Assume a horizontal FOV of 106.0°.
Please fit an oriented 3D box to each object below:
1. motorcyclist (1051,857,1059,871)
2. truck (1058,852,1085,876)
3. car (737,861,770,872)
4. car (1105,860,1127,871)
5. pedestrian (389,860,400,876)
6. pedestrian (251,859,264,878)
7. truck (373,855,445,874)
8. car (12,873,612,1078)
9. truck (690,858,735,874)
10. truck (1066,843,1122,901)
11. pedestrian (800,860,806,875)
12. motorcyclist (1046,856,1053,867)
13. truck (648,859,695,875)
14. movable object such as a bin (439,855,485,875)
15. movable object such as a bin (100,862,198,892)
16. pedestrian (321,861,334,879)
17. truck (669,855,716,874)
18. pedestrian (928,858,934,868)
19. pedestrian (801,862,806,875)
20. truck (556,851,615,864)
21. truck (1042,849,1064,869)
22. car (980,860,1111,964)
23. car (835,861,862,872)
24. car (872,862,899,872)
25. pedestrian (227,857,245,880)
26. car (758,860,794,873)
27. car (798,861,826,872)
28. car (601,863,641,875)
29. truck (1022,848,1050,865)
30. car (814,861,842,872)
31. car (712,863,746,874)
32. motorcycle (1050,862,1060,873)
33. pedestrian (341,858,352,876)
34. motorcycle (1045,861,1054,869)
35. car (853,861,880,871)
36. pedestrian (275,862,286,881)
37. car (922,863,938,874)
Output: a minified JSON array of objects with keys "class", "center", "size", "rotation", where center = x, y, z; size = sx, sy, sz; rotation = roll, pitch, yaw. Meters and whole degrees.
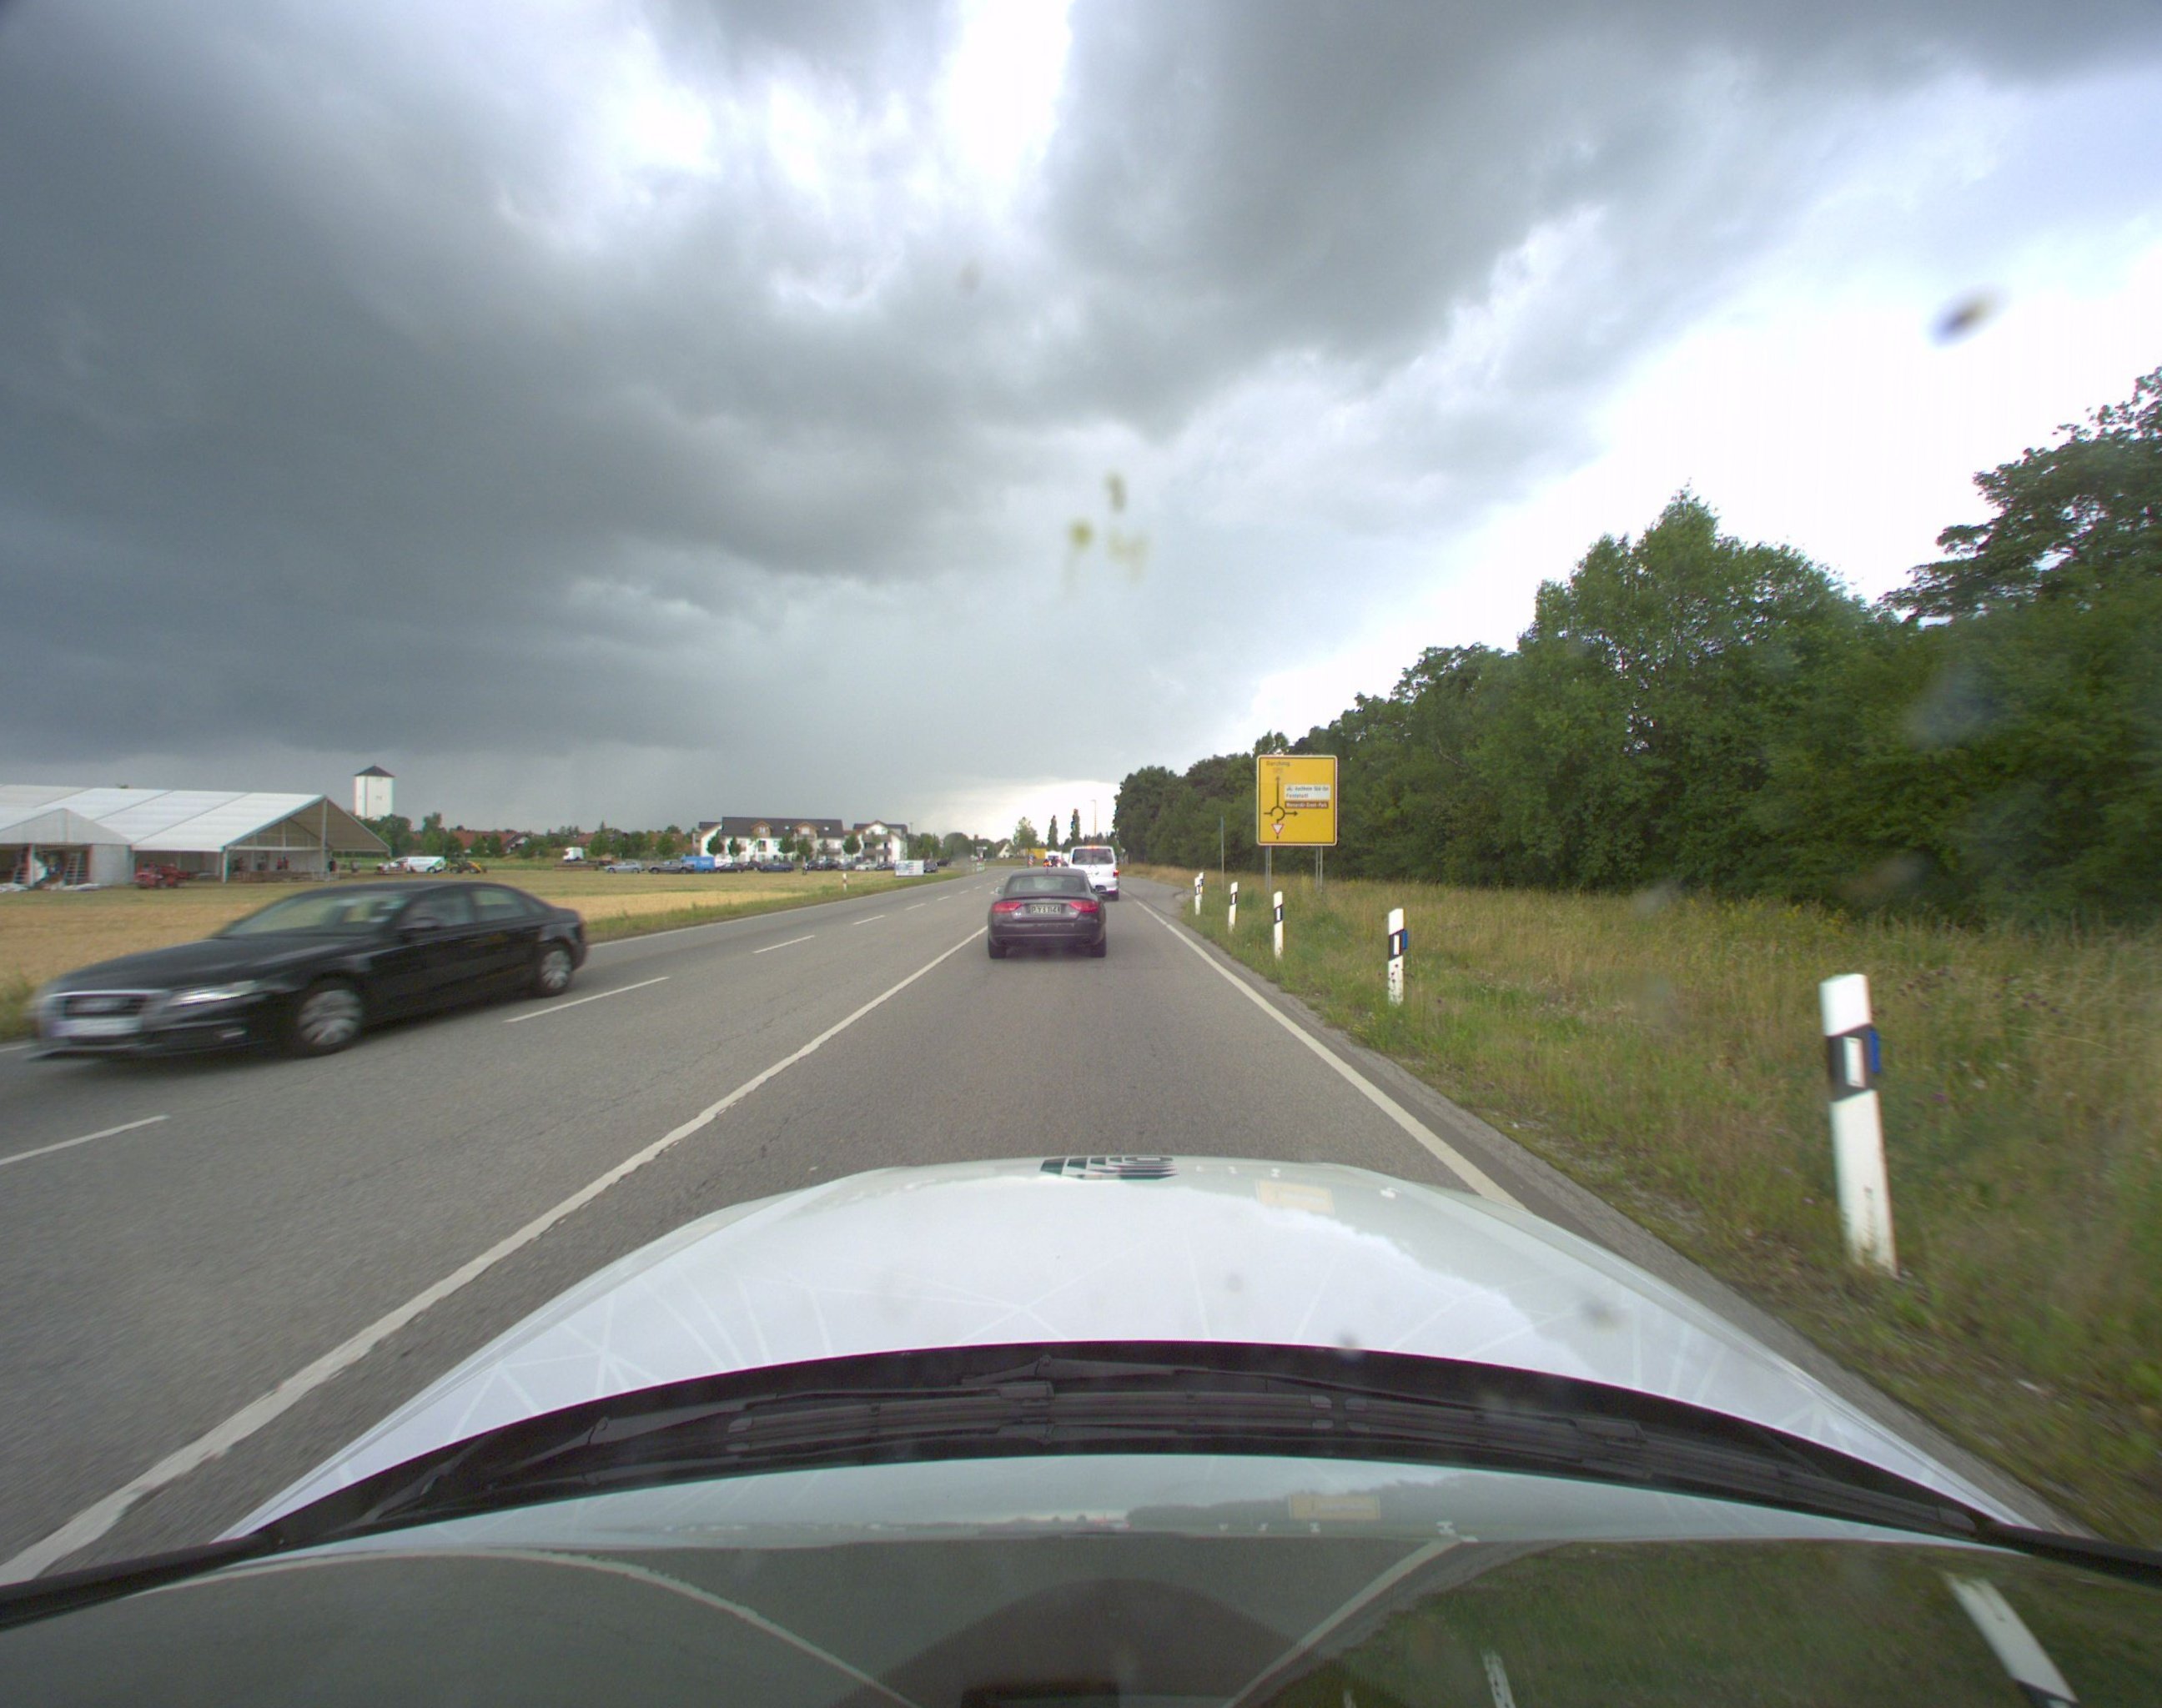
[{"class":"motorcyclist","center":[-2.601,0.995,81.269],"size":[0.769,1.383,0.820],"rotation":[0,-1,-1]},{"class":"truck","center":[-0.815,0.837,70.319],"size":[2.187,2.014,5.083],"rotation":[0,-1,0]},{"class":"car","center":[-50.536,1.926,125.681],"size":[4.643,1.697,1.986],"rotation":[0,-1,-21]},{"class":"car","center":[6.846,2.299,159.783],"size":[3.954,2.014,2.010],"rotation":[0,-1,19]},{"class":"pedestrian","center":[-74.475,1.537,88.319],"size":[0.690,1.776,0.691],"rotation":[0,-1,-17]},{"class":"pedestrian","center":[-76.643,1.332,75.804],"size":[0.750,1.779,0.736],"rotation":[-1,-1,34]},{"class":"truck","center":[-78.195,1.208,94.893],"size":[6.079,2.217,2.696],"rotation":[0,-1,-28]},{"class":"car","center":[-6.977,0.947,8.251],"size":[1.820,1.410,4.424],"rotation":[-1,0,1]},{"class":"truck","center":[-51.651,1.629,114.285],"size":[5.590,2.197,2.586],"rotation":[0,-1,-24]},{"class":"truck","center":[0.426,0.619,30.243],"size":[1.898,1.998,4.627],"rotation":[0,0,0]},{"class":"pedestrian","center":[-34.734,1.689,101.748],"size":[0.549,1.786,0.675],"rotation":[0,-1,-13]},{"class":"motorcyclist","center":[-4.106,0.976,105.615],"size":[0.785,1.356,0.852],"rotation":[0,-1,-7]},{"class":"truck","center":[-51.571,1.657,102.565],"size":[5.255,1.921,2.093],"rotation":[0,-1,-27]},{"class":"movable object such as a bin","center":[-71.630,1.239,94.265],"size":[4.008,2.243,1.868],"rotation":[0,-1,-29]},{"class":"movable object such as a bin","center":[-62.221,1.497,54.498],"size":[2.601,1.864,4.438],"rotation":[0,-1,-24]},{"class":"pedestrian","center":[-73.734,1.534,79.676],"size":[0.691,1.776,0.689],"rotation":[0,-1,-24]},{"class":"truck","center":[-50.925,1.362,106.766],"size":[5.472,2.446,2.375],"rotation":[0,-1,-24]},{"class":"pedestrian","center":[-24.055,1.430,130.412],"size":[0.695,1.586,0.660],"rotation":[0,-1,16]},{"class":"pedestrian","center":[-34.918,1.814,102.652],"size":[0.591,1.555,0.622],"rotation":[0,-1,-20]},{"class":"truck","center":[-92.706,0.660,152.476],"size":[9.301,2.530,3.304],"rotation":[0,-1,5]},{"class":"truck","center":[-4.004,0.695,116.639],"size":[2.624,2.737,5.852],"rotation":[1,-1,-7]},{"class":"car","center":[-0.544,0.844,13.763],"size":[1.870,1.454,4.174],"rotation":[-1,0,-1]},{"class":"car","center":[-34.637,1.848,121.423],"size":[1.978,1.536,4.231],"rotation":[-1,0,18]},{"class":"car","center":[-28.982,1.904,120.736],"size":[1.978,1.446,4.231],"rotation":[-1,0,18]},{"class":"pedestrian","center":[-76.124,1.289,73.395],"size":[0.878,2.014,0.762],"rotation":[0,-1,-23]},{"class":"car","center":[-42.625,1.743,113.885],"size":[4.733,1.697,1.986],"rotation":[0,-1,-21]},{"class":"car","center":[-40.887,1.845,123.853],"size":[1.978,1.629,4.231],"rotation":[-1,0,18]},{"class":"car","center":[-58.472,1.862,103.680],"size":[4.318,1.461,1.875],"rotation":[0,-1,-27]},{"class":"truck","center":[-9.861,0.476,178.202],"size":[3.587,3.578,9.893],"rotation":[1,0,-19]},{"class":"car","center":[-37.794,1.809,121.809],"size":[1.978,1.629,4.231],"rotation":[-1,0,18]},{"class":"car","center":[-48.100,1.933,111.505],"size":[4.171,1.519,1.986],"rotation":[0,-1,-21]},{"class":"motorcycle","center":[-2.592,1.328,81.355],"size":[0.917,1.094,2.188],"rotation":[0,-1,0]},{"class":"pedestrian","center":[-75.819,1.365,84.080],"size":[0.626,1.866,0.703],"rotation":[0,-1,-23]},{"class":"motorcycle","center":[-4.082,1.481,105.594],"size":[0.943,1.019,2.279],"rotation":[0,0,-6]},{"class":"car","center":[-31.876,1.834,121.073],"size":[1.978,1.446,4.231],"rotation":[-1,0,18]},{"class":"pedestrian","center":[-75.520,1.629,76.823],"size":[0.718,1.744,0.660],"rotation":[-1,-1,38]},{"class":"car","center":[-20.182,1.938,108.567],"size":[1.995,1.442,3.984],"rotation":[0,0,-12]}]
